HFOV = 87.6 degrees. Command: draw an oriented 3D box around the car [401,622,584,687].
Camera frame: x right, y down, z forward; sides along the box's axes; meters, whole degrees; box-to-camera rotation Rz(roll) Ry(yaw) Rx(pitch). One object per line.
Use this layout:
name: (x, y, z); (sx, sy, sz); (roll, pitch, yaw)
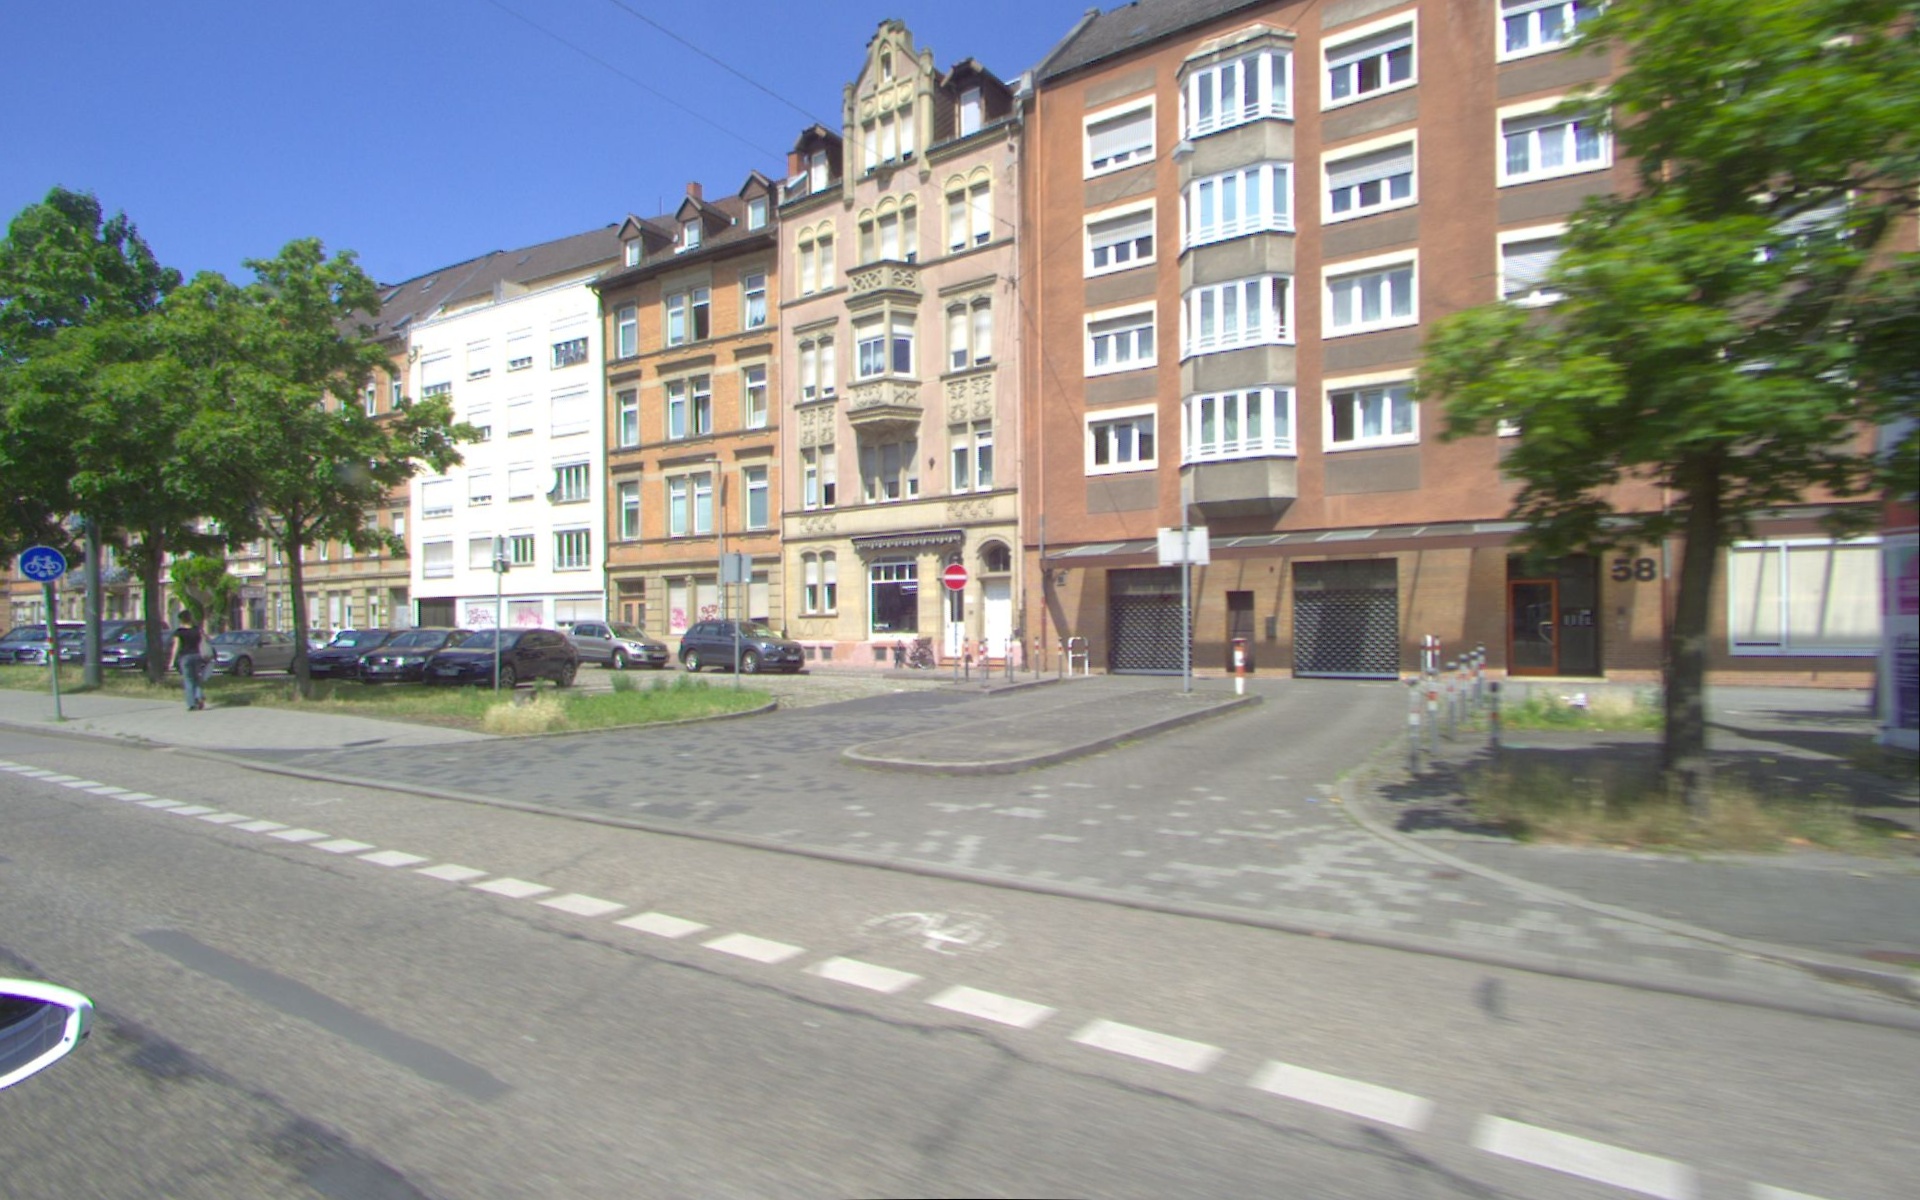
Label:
car: (-10.786, 1.250, 23.467); (1.924, 1.371, 4.001); (0, -2, 10)

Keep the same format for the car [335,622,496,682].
car: (-13.742, 1.303, 25.590); (1.923, 1.397, 4.003); (0, -2, 0)

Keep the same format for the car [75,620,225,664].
car: (-27.560, 1.443, 34.281); (1.816, 1.397, 4.271); (1, -2, -3)

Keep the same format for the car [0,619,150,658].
car: (-33.930, 1.488, 38.486); (1.816, 1.397, 4.696); (1, -2, -1)

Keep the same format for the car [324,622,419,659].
car: (-25.099, 1.724, 42.671); (4.168, 1.510, 1.829); (-1, -3, 33)

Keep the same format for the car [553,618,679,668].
car: (-12.075, 1.486, 35.030); (4.433, 1.636, 1.829); (-1, -3, 33)

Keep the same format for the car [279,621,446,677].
car: (-16.104, 1.331, 27.250); (1.923, 1.397, 4.002); (0, -2, 5)

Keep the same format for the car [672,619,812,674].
car: (-6.912, 1.457, 31.615); (4.437, 1.636, 1.827); (-1, -3, 36)

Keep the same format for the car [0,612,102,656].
car: (-38.997, 1.442, 42.298); (1.816, 1.763, 4.153); (0, -2, 2)

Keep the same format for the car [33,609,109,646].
car: (-54.454, 1.704, 61.326); (5.318, 2.206, 2.107); (-1, -3, 33)

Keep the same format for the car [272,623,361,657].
car: (-29.123, 1.808, 45.300); (4.168, 1.510, 1.829); (-1, -3, 33)

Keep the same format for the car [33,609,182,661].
car: (-30.823, 1.299, 36.415); (1.816, 1.763, 4.368); (1, -2, -3)

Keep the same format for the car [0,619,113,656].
car: (-36.605, 1.514, 40.218); (1.816, 1.423, 4.087); (1, -2, -2)

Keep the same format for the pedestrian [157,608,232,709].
pedestrian: (-13.681, 1.023, 17.893); (1.030, 1.727, 0.699); (0, 1, 32)

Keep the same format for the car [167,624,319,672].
car: (-22.121, 1.482, 31.111); (1.816, 1.397, 4.271); (1, -2, -3)
